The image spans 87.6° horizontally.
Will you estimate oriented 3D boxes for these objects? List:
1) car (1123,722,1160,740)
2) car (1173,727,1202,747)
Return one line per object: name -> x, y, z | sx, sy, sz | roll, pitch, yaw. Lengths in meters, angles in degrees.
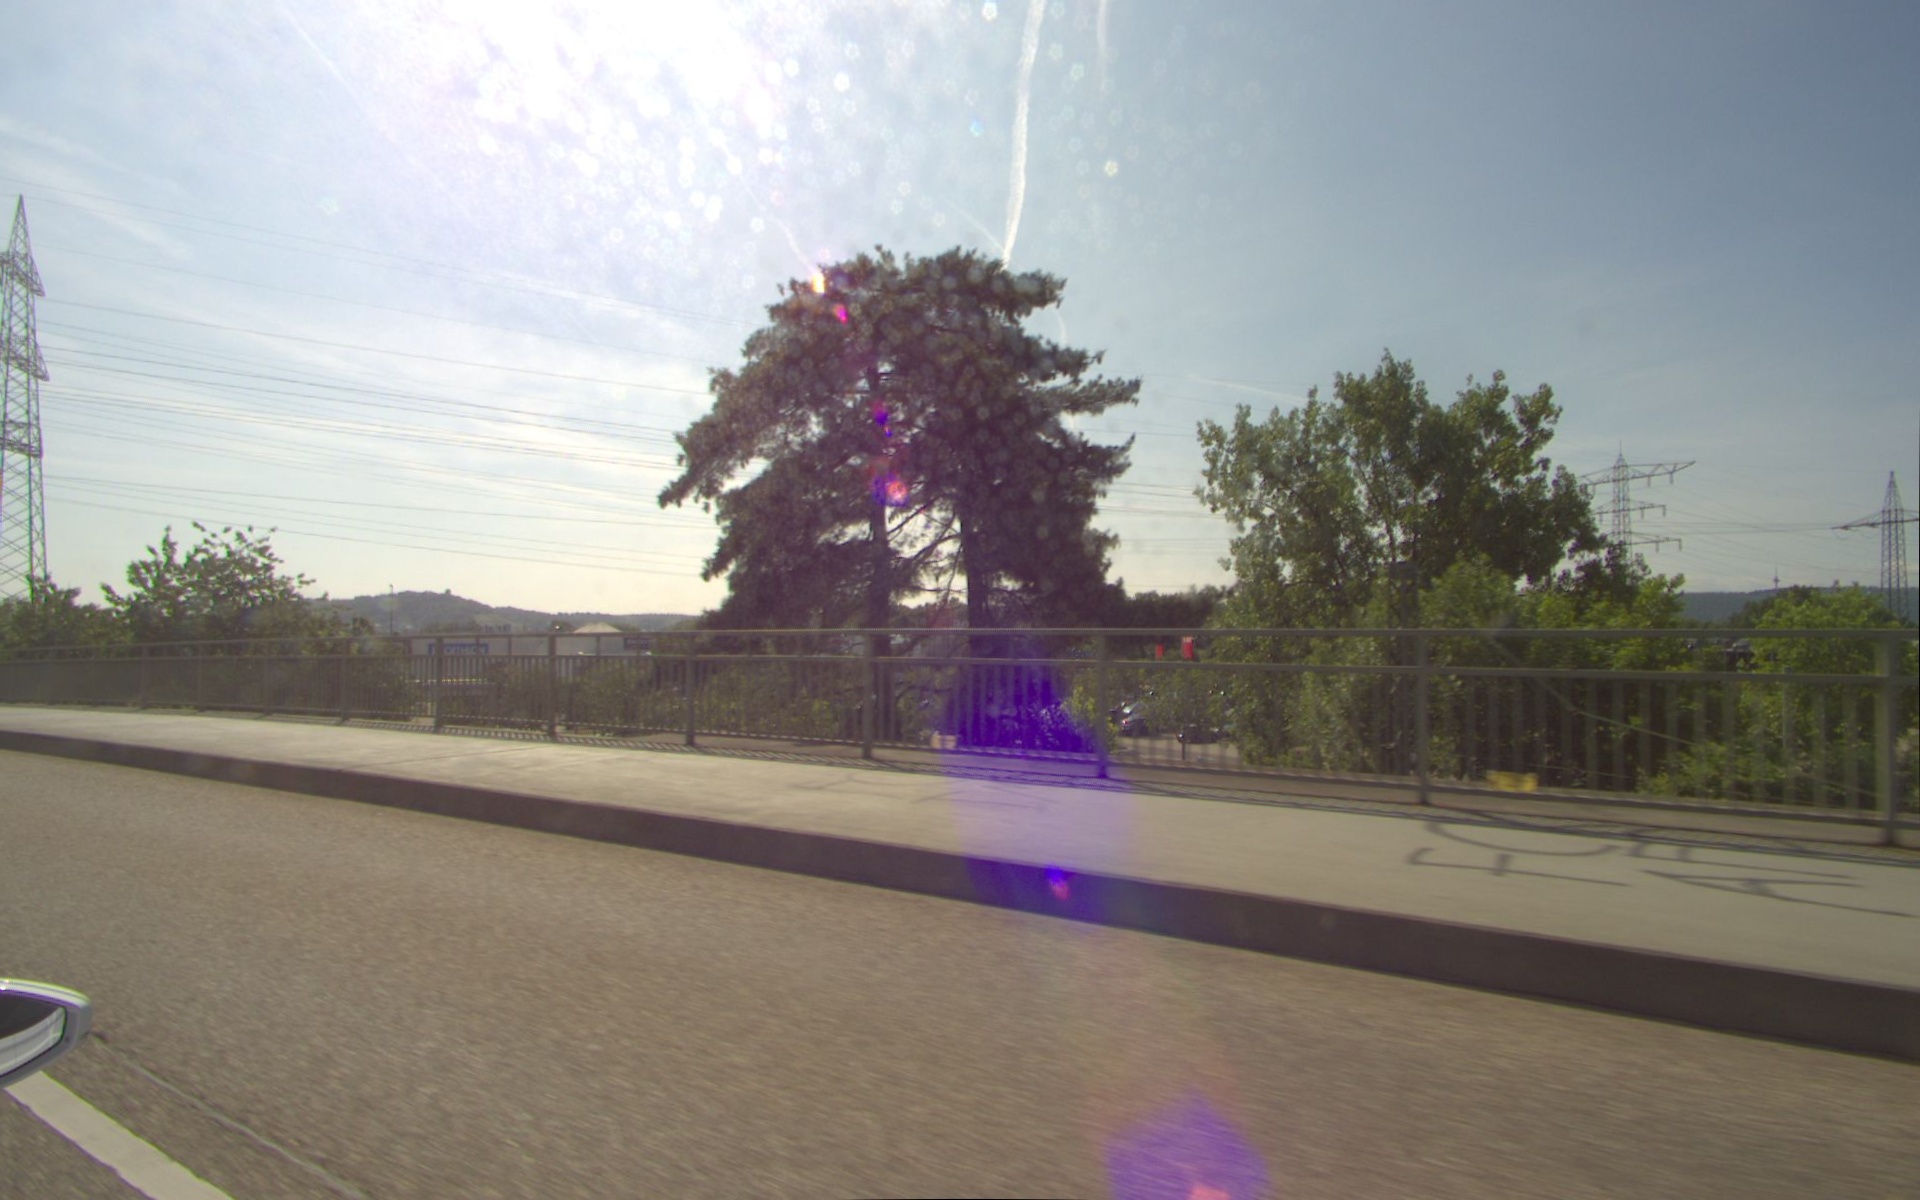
car -> 16.516, 11.919, 91.237 | 3.111, 1.377, 1.388 | 1, -1, -27
car -> 19.474, 11.685, 85.681 | 1.375, 1.377, 3.140 | -1, -2, 35
